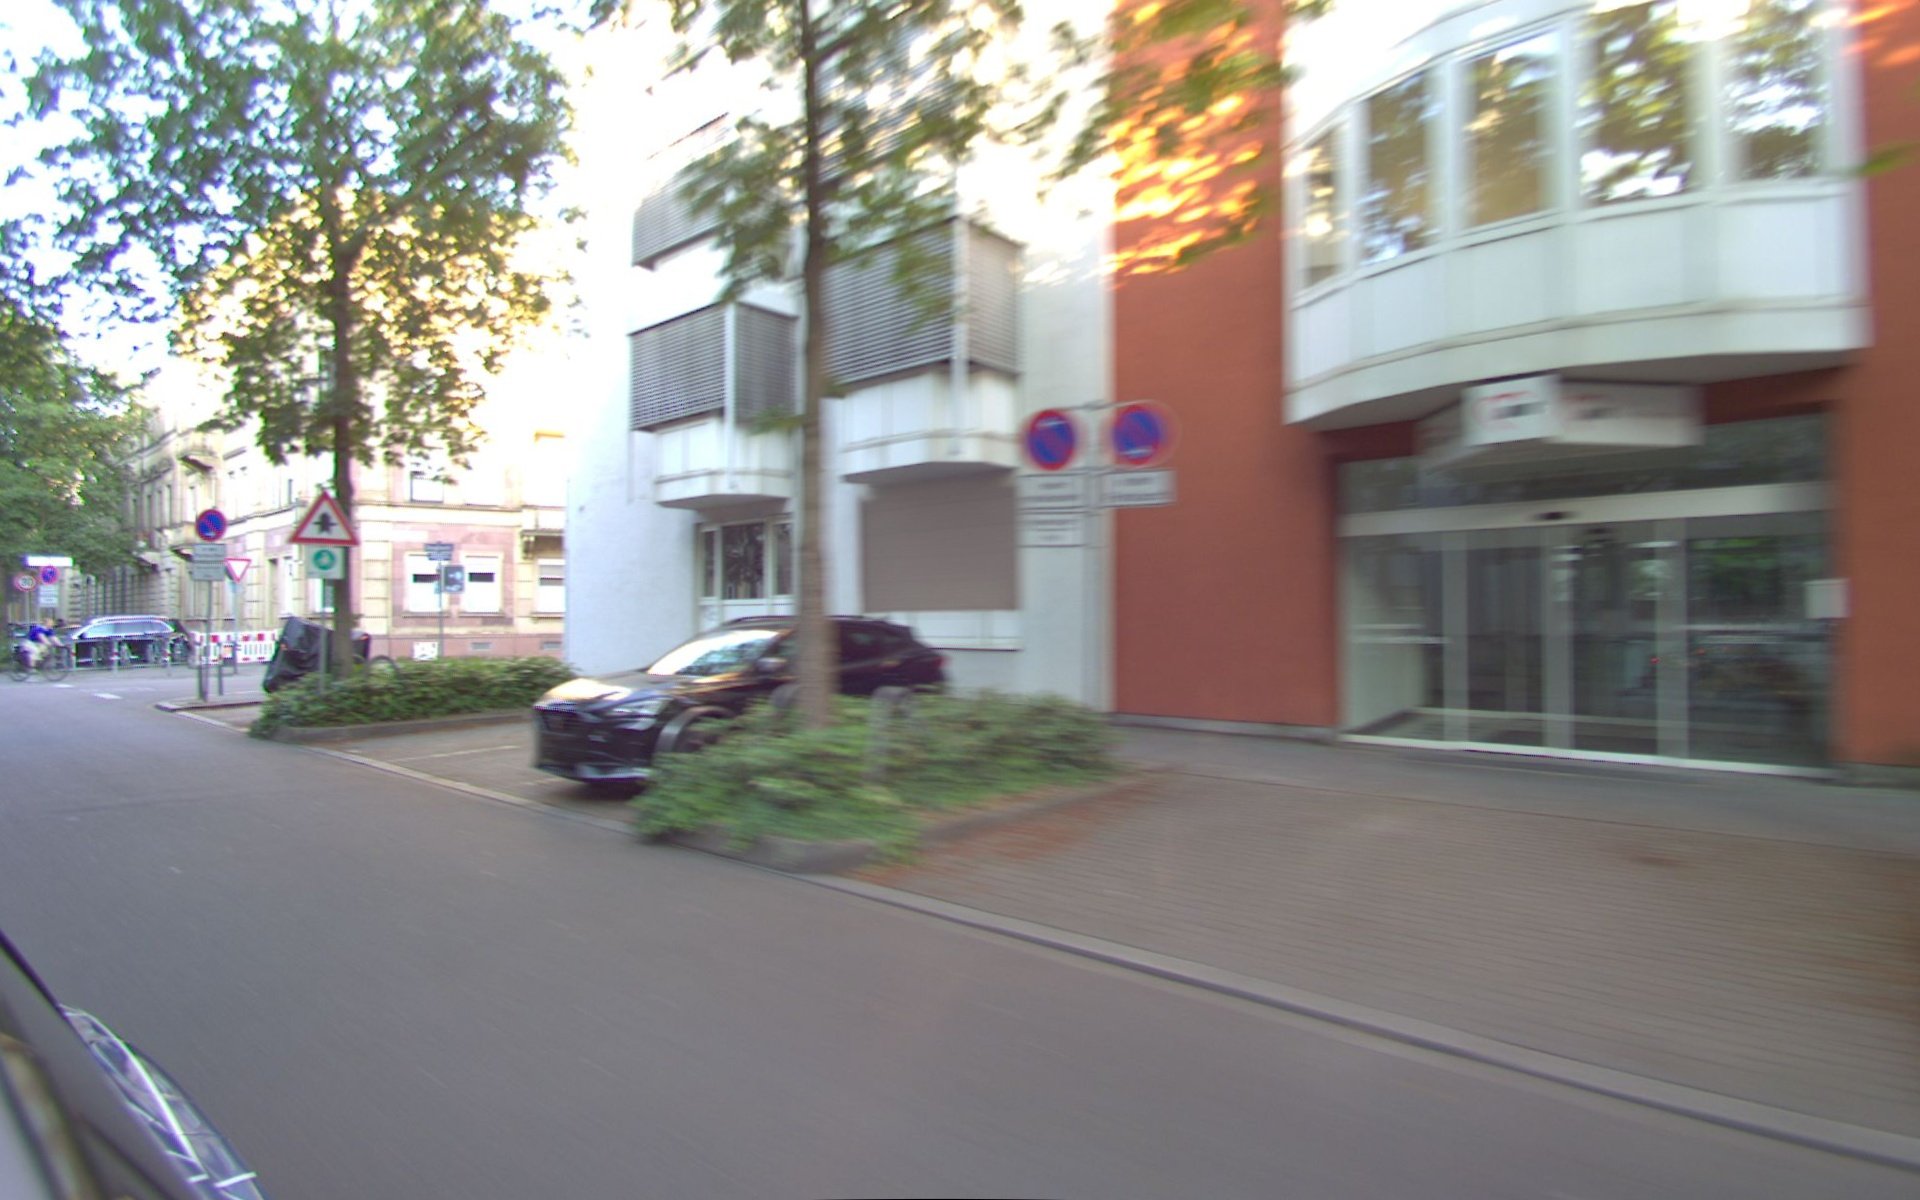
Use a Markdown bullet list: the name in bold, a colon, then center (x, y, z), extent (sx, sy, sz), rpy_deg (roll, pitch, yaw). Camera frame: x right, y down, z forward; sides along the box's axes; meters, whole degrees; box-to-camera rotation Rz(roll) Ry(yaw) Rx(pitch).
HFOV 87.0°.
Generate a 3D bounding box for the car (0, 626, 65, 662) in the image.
- **car**: center (-47.804, 2.245, 51.020), extent (1.713, 1.684, 3.763), rpy_deg (-3, -1, 40)

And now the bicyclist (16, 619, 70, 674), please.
- **bicyclist**: center (-23.798, 1.196, 26.269), extent (0.766, 1.374, 0.674), rpy_deg (-2, -1, 2)

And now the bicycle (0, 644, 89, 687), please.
- **bicycle**: center (-23.843, 1.694, 26.257), extent (1.951, 1.038, 0.673), rpy_deg (-2, -1, 4)

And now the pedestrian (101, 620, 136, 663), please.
- **pedestrian**: center (-34.853, 1.703, 41.916), extent (0.792, 1.750, 0.824), rpy_deg (-1, -2, 25)

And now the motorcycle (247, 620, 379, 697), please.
- **motorcycle**: center (-13.303, 1.172, 20.886), extent (0.854, 1.493, 2.199), rpy_deg (-2, -2, 22)

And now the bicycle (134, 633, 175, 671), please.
- **bicycle**: center (-25.260, 1.624, 31.712), extent (1.861, 1.070, 0.661), rpy_deg (0, 2, 41)

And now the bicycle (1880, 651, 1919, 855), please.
- **bicycle**: center (5.382, 0.851, 5.001), extent (0.496, 1.116, 1.790), rpy_deg (-1, -1, 17)

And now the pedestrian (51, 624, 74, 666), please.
- **pedestrian**: center (-38.967, 1.953, 43.925), extent (0.725, 1.752, 0.672), rpy_deg (-1, -1, -42)

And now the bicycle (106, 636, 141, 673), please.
- **bicycle**: center (-25.761, 1.677, 31.171), extent (1.861, 1.026, 0.517), rpy_deg (0, 2, 41)

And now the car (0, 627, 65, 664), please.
- **car**: center (-46.177, 2.250, 48.885), extent (1.906, 1.684, 4.157), rpy_deg (-3, -1, 41)

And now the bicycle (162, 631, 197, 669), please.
- **bicycle**: center (-24.894, 1.579, 32.278), extent (1.861, 1.116, 0.511), rpy_deg (0, 2, 41)

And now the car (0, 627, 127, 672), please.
- **car**: center (-33.779, 1.835, 37.930), extent (1.871, 1.469, 3.655), rpy_deg (-3, -1, 40)

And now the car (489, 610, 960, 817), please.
- **car**: center (-2.052, 0.882, 9.744), extent (1.928, 1.497, 4.085), rpy_deg (-2, -1, 40)

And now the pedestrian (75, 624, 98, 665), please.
- **pedestrian**: center (-38.619, 1.968, 44.753), extent (0.725, 1.752, 0.672), rpy_deg (-1, -1, -42)

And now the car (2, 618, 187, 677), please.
- **car**: center (-28.223, 1.504, 33.096), extent (1.872, 1.663, 4.379), rpy_deg (-3, -1, 42)

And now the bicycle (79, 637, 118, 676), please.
- **bicycle**: center (-26.134, 1.691, 30.691), extent (1.860, 1.067, 0.517), rpy_deg (0, 2, 39)

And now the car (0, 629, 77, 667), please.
- **car**: center (-41.323, 2.114, 44.294), extent (1.907, 1.544, 3.902), rpy_deg (-2, -1, 43)
